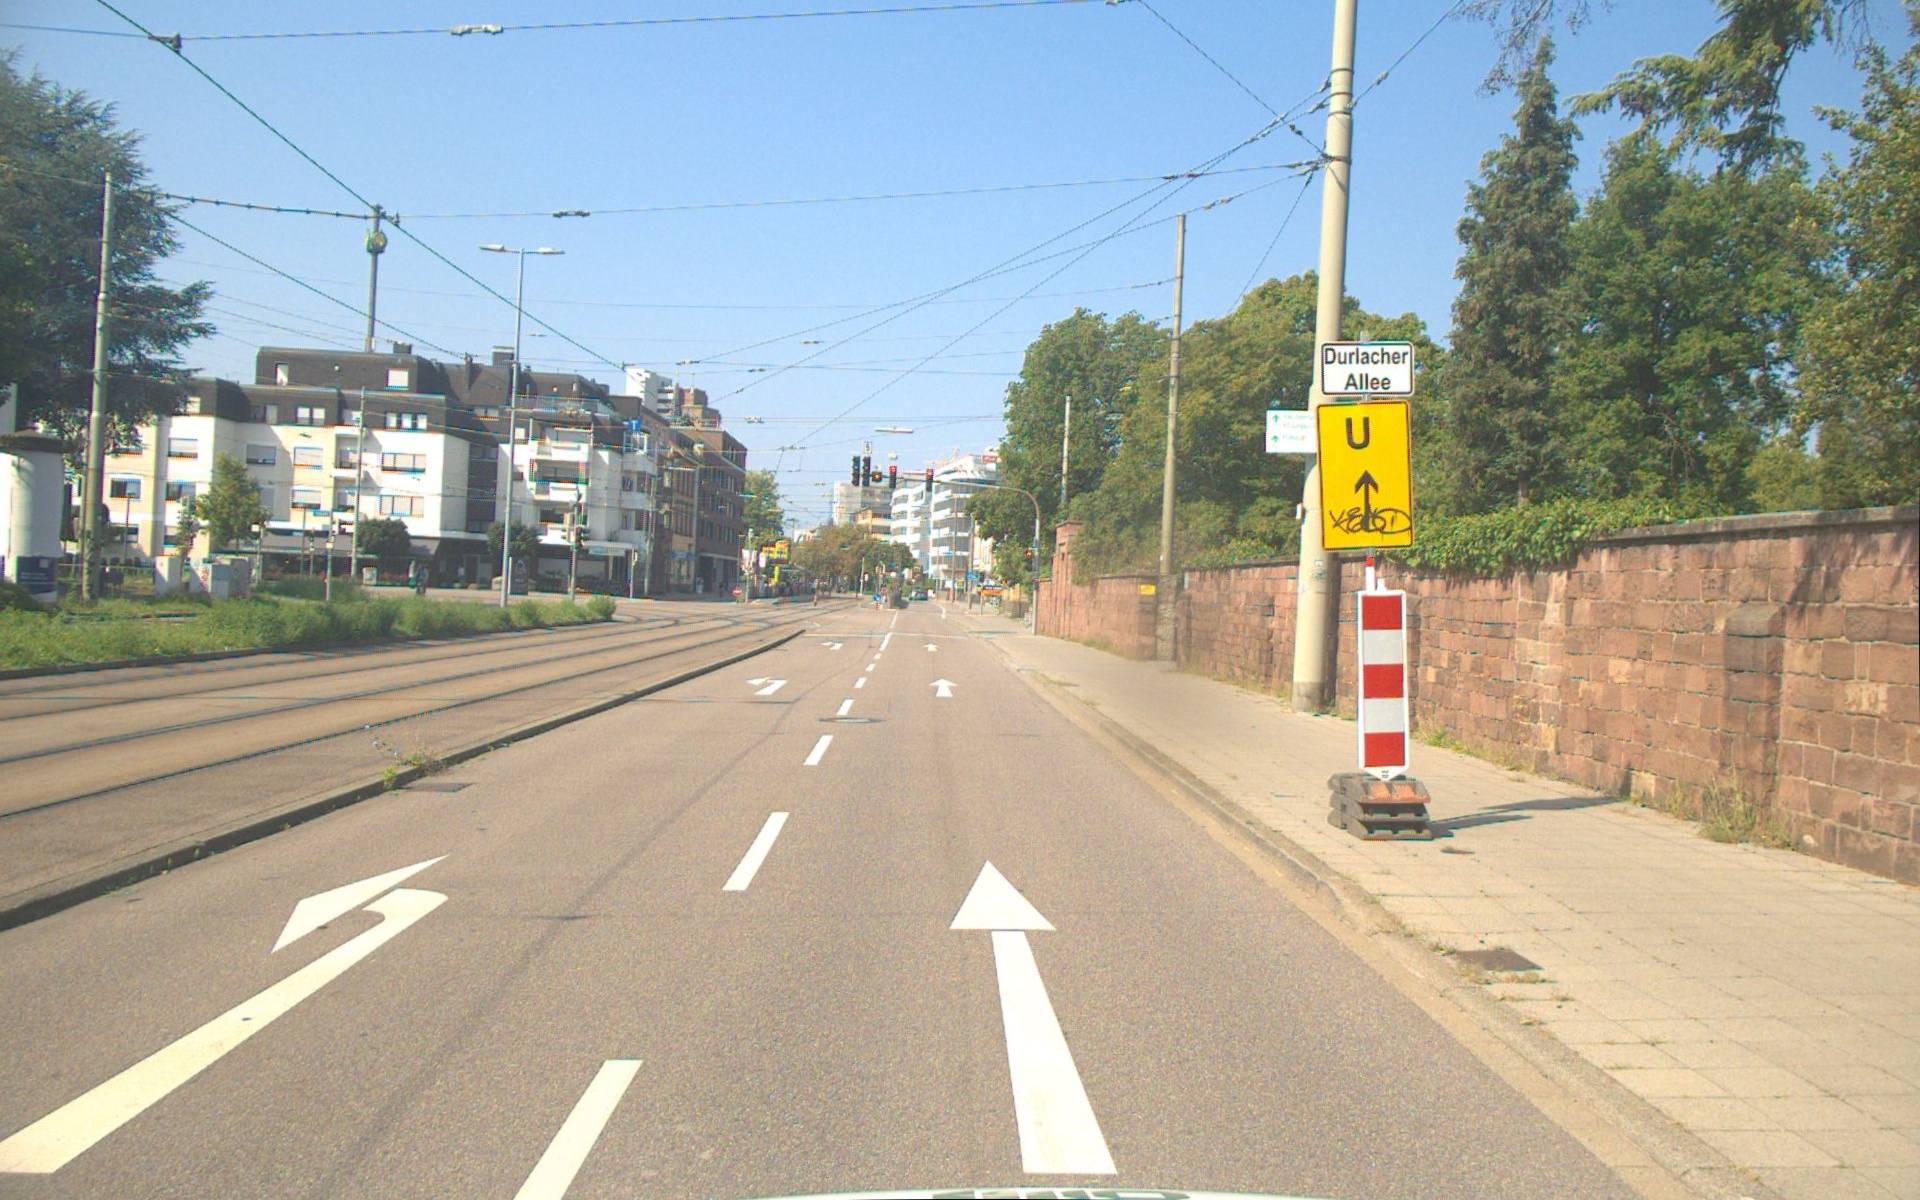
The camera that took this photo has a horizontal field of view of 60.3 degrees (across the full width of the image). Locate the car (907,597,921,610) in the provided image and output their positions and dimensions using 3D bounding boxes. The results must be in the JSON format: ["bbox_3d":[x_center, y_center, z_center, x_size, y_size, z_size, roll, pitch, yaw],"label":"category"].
[{"bbox_3d":[-6.831,0.567,244.856,1.970,1.891,3.999,1,0,0],"label":"car"}]

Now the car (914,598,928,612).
[{"bbox_3d":[-5.599,0.712,238.793,1.970,1.891,3.999,1,0,0],"label":"car"}]

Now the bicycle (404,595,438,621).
[{"bbox_3d":[-24.038,0.355,73.818,0.700,1.110,2.266,1,0,2],"label":"bicycle"}]

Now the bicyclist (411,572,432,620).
[{"bbox_3d":[-24.025,-0.174,73.835,0.624,2.100,0.775,1,-1,2],"label":"bicyclist"}]

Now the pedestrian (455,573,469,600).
[{"bbox_3d":[-33.603,-0.902,111.644,0.665,1.771,0.698,1,-1,0],"label":"pedestrian"}]
